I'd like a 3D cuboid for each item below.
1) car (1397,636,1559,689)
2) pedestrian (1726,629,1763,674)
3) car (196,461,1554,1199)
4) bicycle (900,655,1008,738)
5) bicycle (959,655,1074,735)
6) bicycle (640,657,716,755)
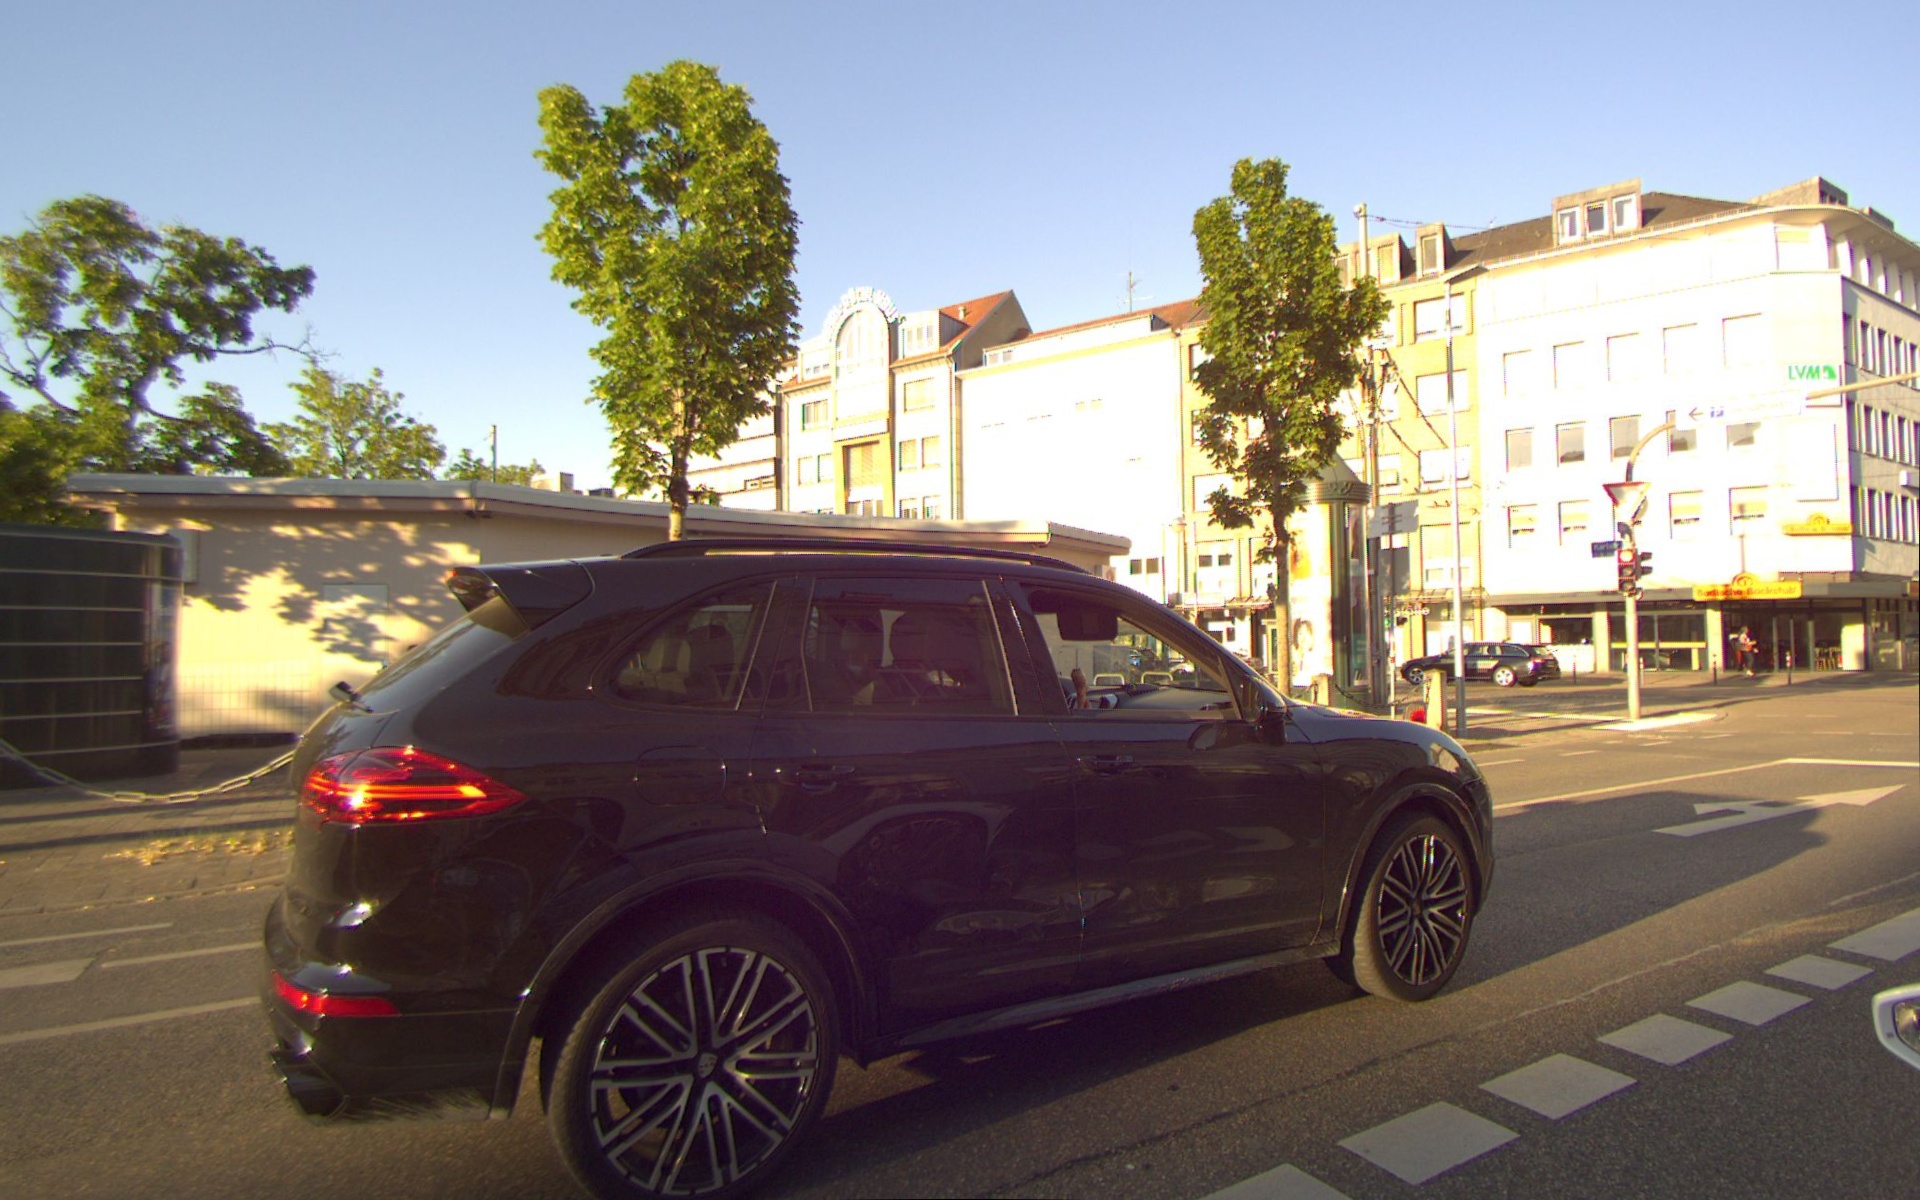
[{"bbox_3d":[17.114,2.041,33.366,1.861,1.616,4.404,1,-3,-37],"label":"car"},{"bbox_3d":[27.673,1.812,35.468,0.933,1.557,0.906,-2,-3,35],"label":"pedestrian"},{"bbox_3d":[0.033,0.679,3.870,4.509,1.736,1.940,1,-3,-31],"label":"car"},{"bbox_3d":[-0.136,1.560,16.691,0.938,1.273,1.997,1,-3,-29],"label":"bicycle"},{"bbox_3d":[0.916,1.583,17.235,0.778,1.273,2.433,1,-3,-29],"label":"bicycle"},{"bbox_3d":[-4.013,1.455,14.222,0.625,1.273,1.846,1,-3,-29],"label":"bicycle"}]
